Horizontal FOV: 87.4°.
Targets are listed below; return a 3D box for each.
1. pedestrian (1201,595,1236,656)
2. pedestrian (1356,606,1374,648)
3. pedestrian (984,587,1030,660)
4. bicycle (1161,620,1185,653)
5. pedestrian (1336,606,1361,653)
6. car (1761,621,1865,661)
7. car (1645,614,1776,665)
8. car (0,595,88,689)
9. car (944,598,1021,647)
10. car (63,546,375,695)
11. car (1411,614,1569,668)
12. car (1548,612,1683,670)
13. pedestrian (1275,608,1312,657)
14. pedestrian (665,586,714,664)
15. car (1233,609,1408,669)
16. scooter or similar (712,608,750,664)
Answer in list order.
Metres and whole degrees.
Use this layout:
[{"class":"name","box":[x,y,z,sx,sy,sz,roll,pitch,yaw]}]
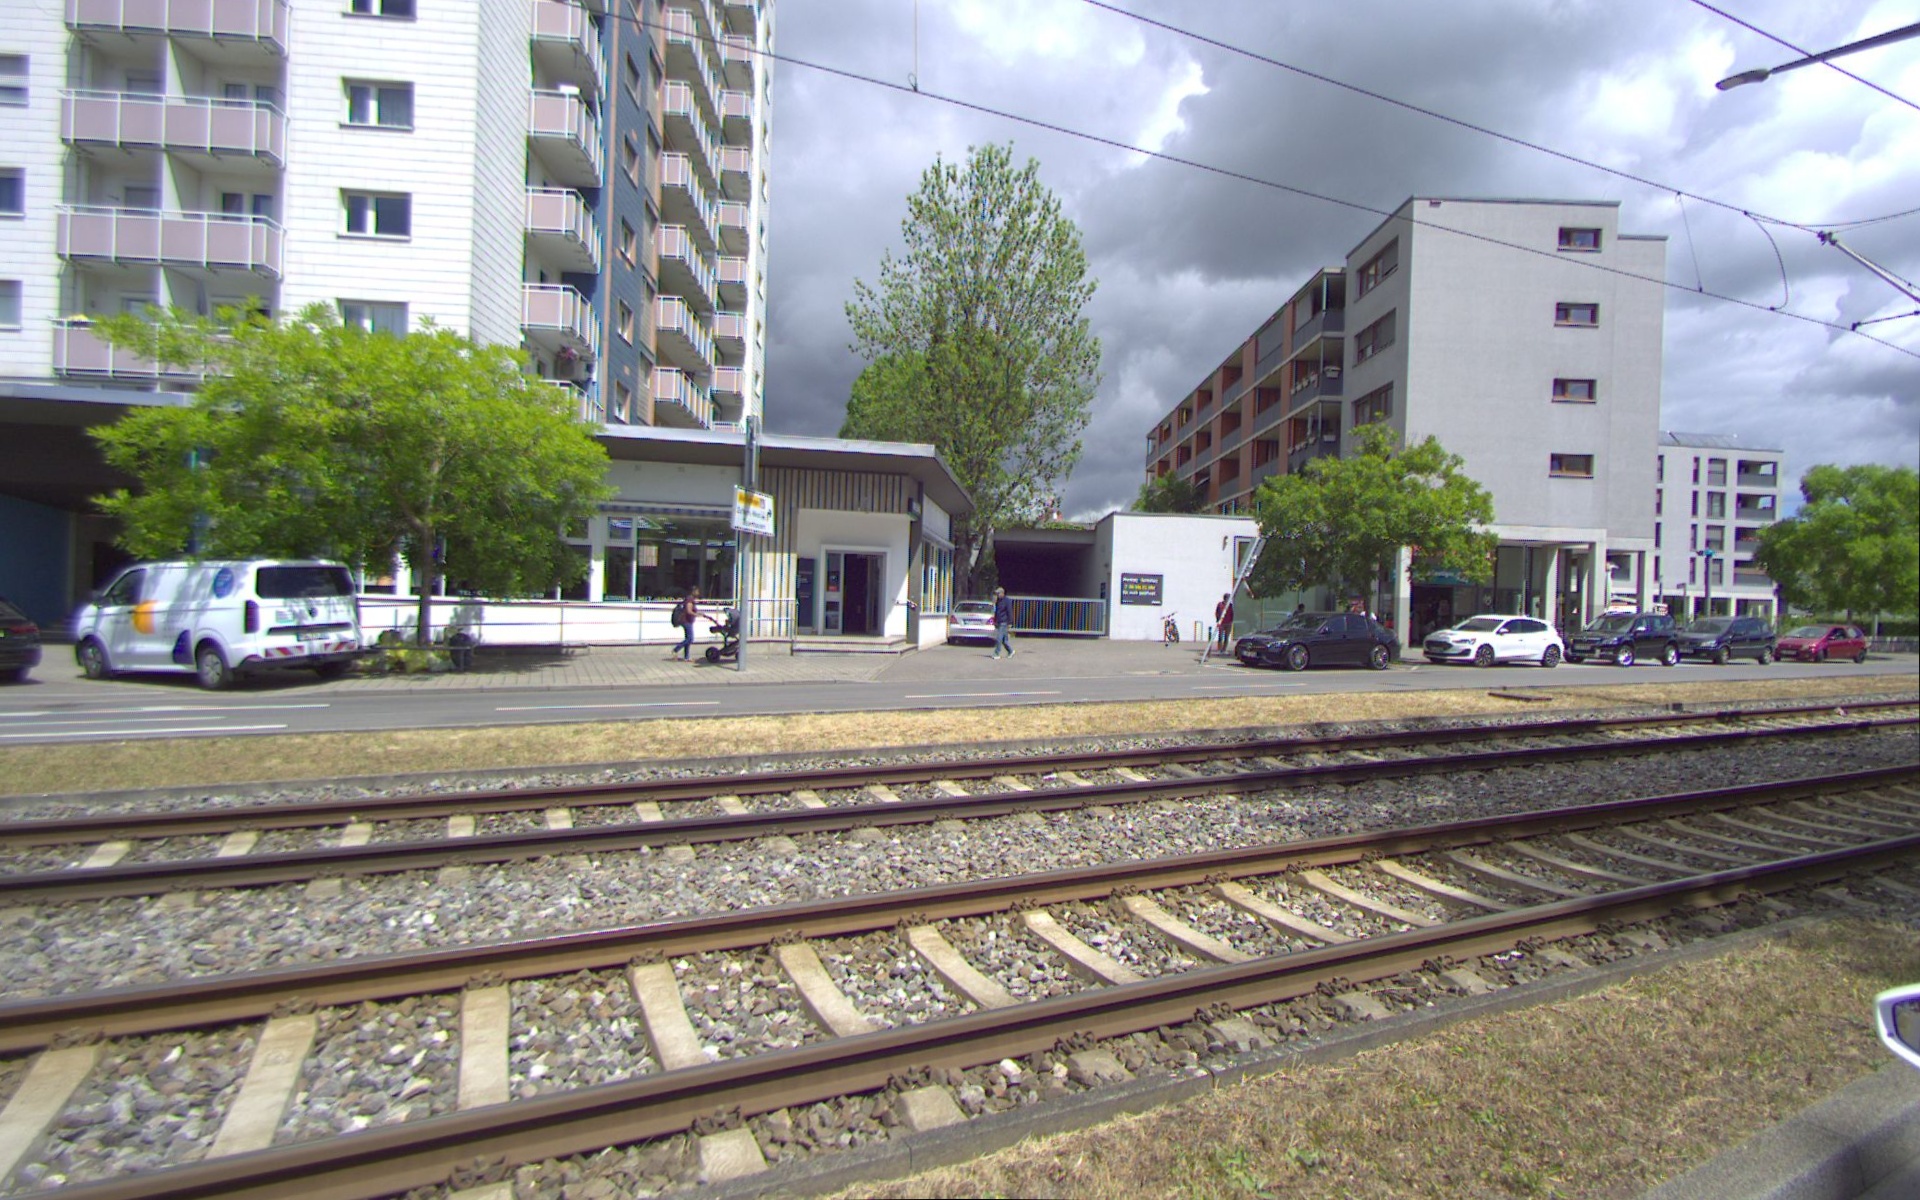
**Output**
[{"class":"pedestrian","box":[7.834,0.760,30.452,0.833,1.816,0.609,0,-1,-28]},{"class":"pedestrian","box":[14.704,0.978,36.491,0.491,1.479,0.559,0,-1,35]},{"class":"pedestrian","box":[1.197,0.584,25.626,0.831,1.816,0.869,0,-1,43]},{"class":"bicycle","box":[8.246,1.391,38.896,0.656,1.228,1.974,0,-1,4]},{"class":"pedestrian","box":[13.491,1.015,34.905,0.654,1.594,0.686,0,-1,35]},{"class":"car","box":[32.177,1.504,37.893,3.372,1.445,1.611,0,-1,-21]},{"class":"car","box":[26.003,1.317,34.815,4.044,1.670,1.988,0,-1,-25]},{"class":"car","box":[-16.106,0.640,15.887,3.922,1.402,1.906,0,-1,21]},{"class":"car","box":[0.803,0.701,32.287,1.959,1.462,4.359,0,-1,8]},{"class":"car","box":[-12.094,0.326,16.409,4.669,2.185,1.906,0,-1,21]},{"class":"car","box":[15.530,1.171,29.430,4.336,1.495,1.751,0,-1,-22]},{"class":"car","box":[20.958,1.263,32.099,4.051,1.685,1.984,0,1,-30]},{"class":"pedestrian","box":[10.613,1.023,31.970,0.957,1.554,0.601,0,-1,-15]},{"class":"pedestrian","box":[-5.717,0.516,21.196,0.970,1.593,0.513,0,3,-17]},{"class":"car","box":[9.365,0.988,26.048,4.321,1.447,1.729,1,0,-25]},{"class":"scooter or similar","box":[-4.890,0.763,21.459,0.757,1.140,0.578,0,4,-17]}]
